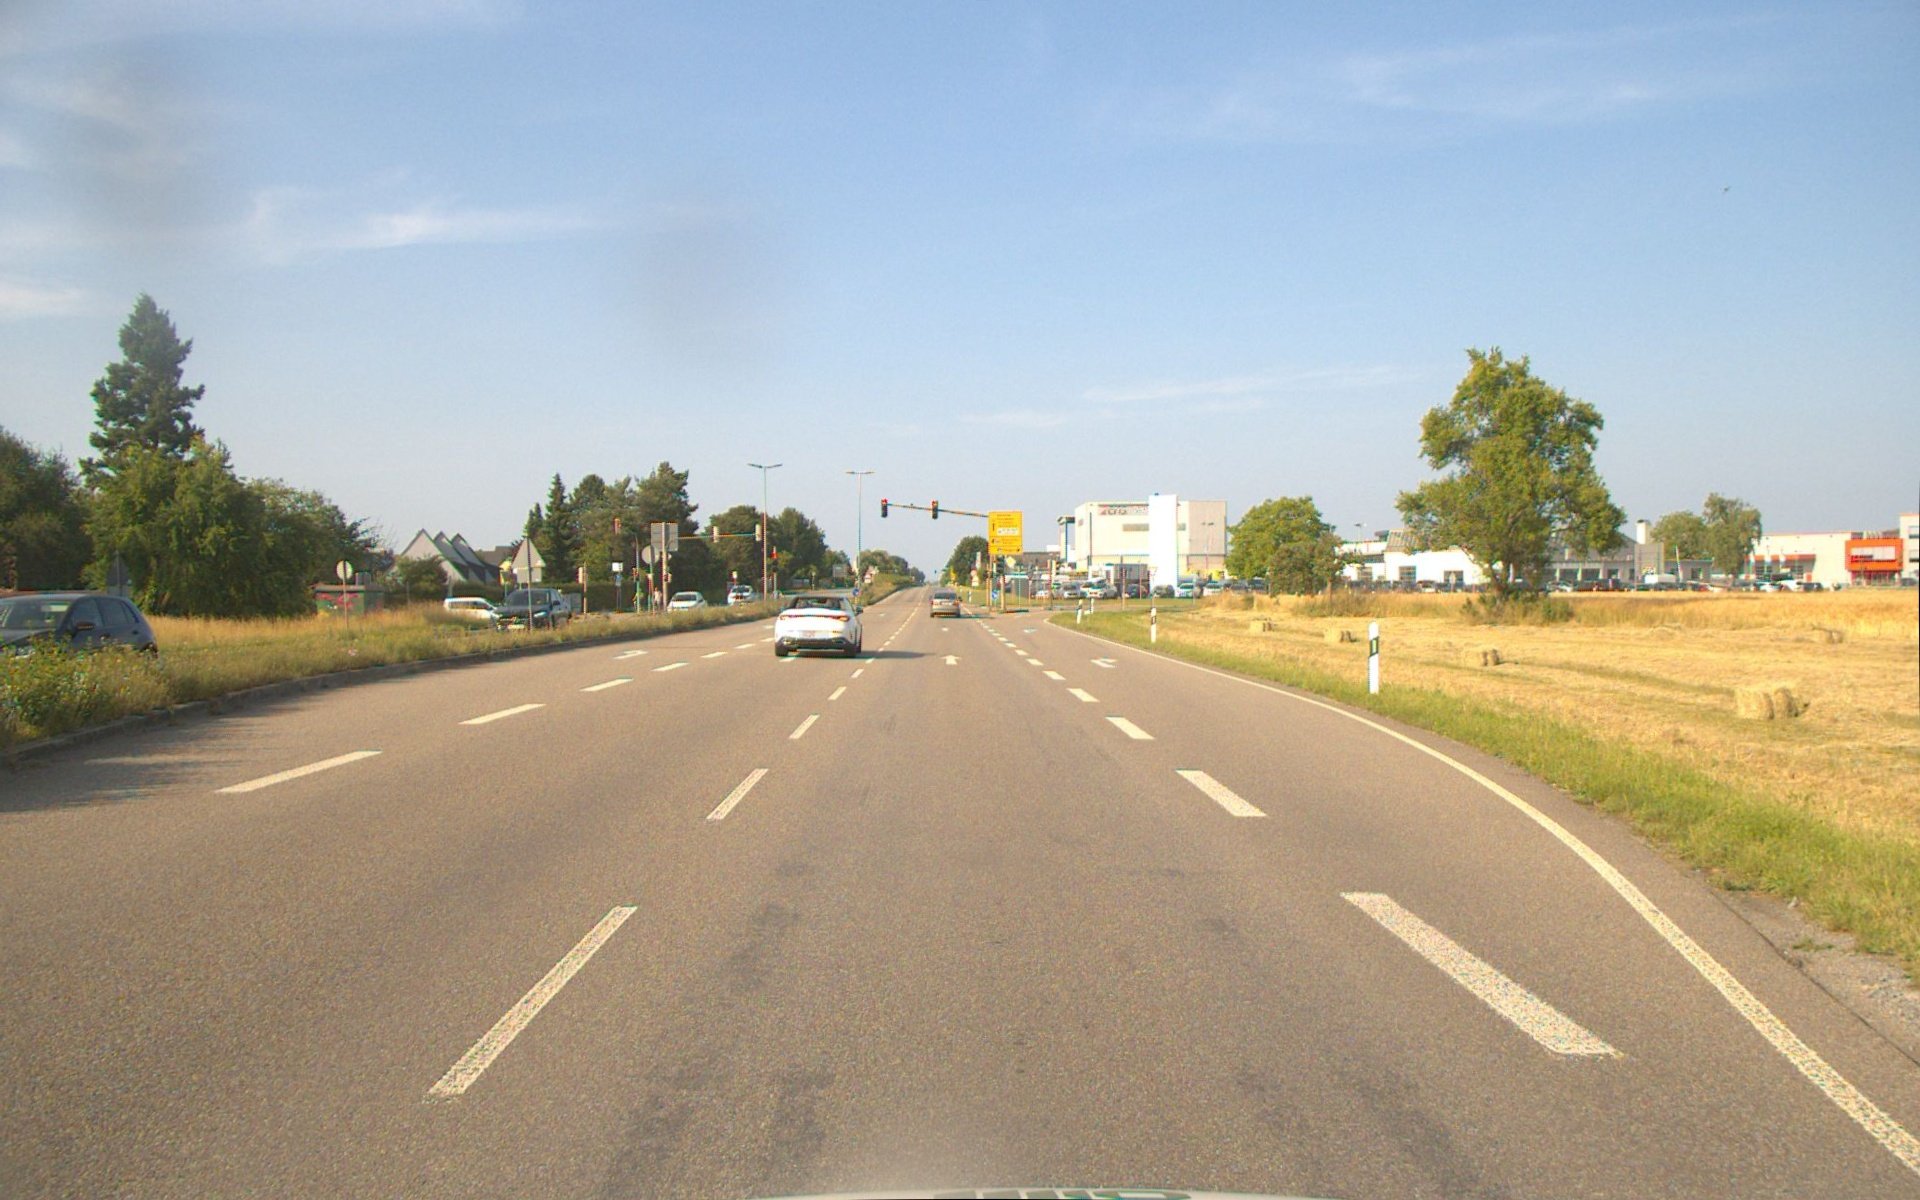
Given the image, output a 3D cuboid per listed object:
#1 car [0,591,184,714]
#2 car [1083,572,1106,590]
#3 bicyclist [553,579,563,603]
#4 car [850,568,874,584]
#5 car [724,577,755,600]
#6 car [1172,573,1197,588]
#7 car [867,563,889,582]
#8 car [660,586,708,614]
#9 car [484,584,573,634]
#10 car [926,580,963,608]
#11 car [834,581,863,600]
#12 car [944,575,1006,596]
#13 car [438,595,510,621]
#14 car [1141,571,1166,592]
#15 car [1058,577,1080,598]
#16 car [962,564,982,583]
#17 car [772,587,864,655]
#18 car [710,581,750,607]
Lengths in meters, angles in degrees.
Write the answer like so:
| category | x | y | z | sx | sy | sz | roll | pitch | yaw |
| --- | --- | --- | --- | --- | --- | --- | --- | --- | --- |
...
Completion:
| category | x | y | z | sx | sy | sz | roll | pitch | yaw |
| --- | --- | --- | --- | --- | --- | --- | --- | --- | --- |
| car | -12.880 | 0.661 | 23.329 | 1.953 | 1.512 | 4.226 | 0 | 1 | -2 |
| car | 13.087 | -1.882 | 161.156 | 1.952 | 1.673 | 4.000 | 1 | 1 | 0 |
| bicyclist | -23.364 | -0.517 | 96.115 | 0.447 | 1.375 | 0.551 | -1 | 1 | -4 |
| car | -8.974 | -2.226 | 151.469 | 1.908 | 1.432 | 4.000 | 1 | 1 | 0 |
| car | -17.793 | -0.960 | 133.548 | 1.908 | 1.831 | 4.000 | 1 | 1 | 0 |
| car | 21.975 | -1.915 | 161.954 | 1.952 | 1.467 | 4.000 | 1 | 1 | 0 |
| car | -8.197 | -2.746 | 165.706 | 1.908 | 1.803 | 4.000 | 1 | 1 | 0 |
| car | -14.494 | -0.018 | 87.033 | 1.953 | 1.422 | 3.999 | 0 | 1 | -2 |
| car | -13.225 | 0.258 | 50.876 | 1.693 | 1.432 | 4.000 | 1 | 1 | 0 |
| car | -0.873 | -0.345 | 92.092 | 1.953 | 1.512 | 3.999 | 0 | 1 | -2 |
| car | -8.520 | -0.751 | 126.581 | 1.908 | 1.432 | 4.000 | 1 | 1 | 0 |
| car | 1.070 | -0.994 | 116.067 | 3.929 | 1.432 | 1.942 | 0 | 1 | -21 |
| car | -30.519 | 0.490 | 103.927 | 4.107 | 1.548 | 1.996 | 0 | 1 | -10 |
| car | 18.965 | -1.860 | 162.341 | 1.952 | 2.049 | 4.000 | 1 | 1 | 0 |
| car | 10.561 | -1.221 | 160.398 | 1.952 | 2.049 | 4.000 | 1 | 1 | 0 |
| car | 1.197 | -2.668 | 166.009 | 1.952 | 1.787 | 4.000 | 1 | 1 | 0 |
| car | -3.214 | 0.442 | 38.116 | 1.871 | 1.447 | 3.999 | 0 | 1 | -2 |
| car | -13.886 | -0.399 | 99.860 | 1.953 | 1.512 | 3.999 | 0 | 1 | -2 |
